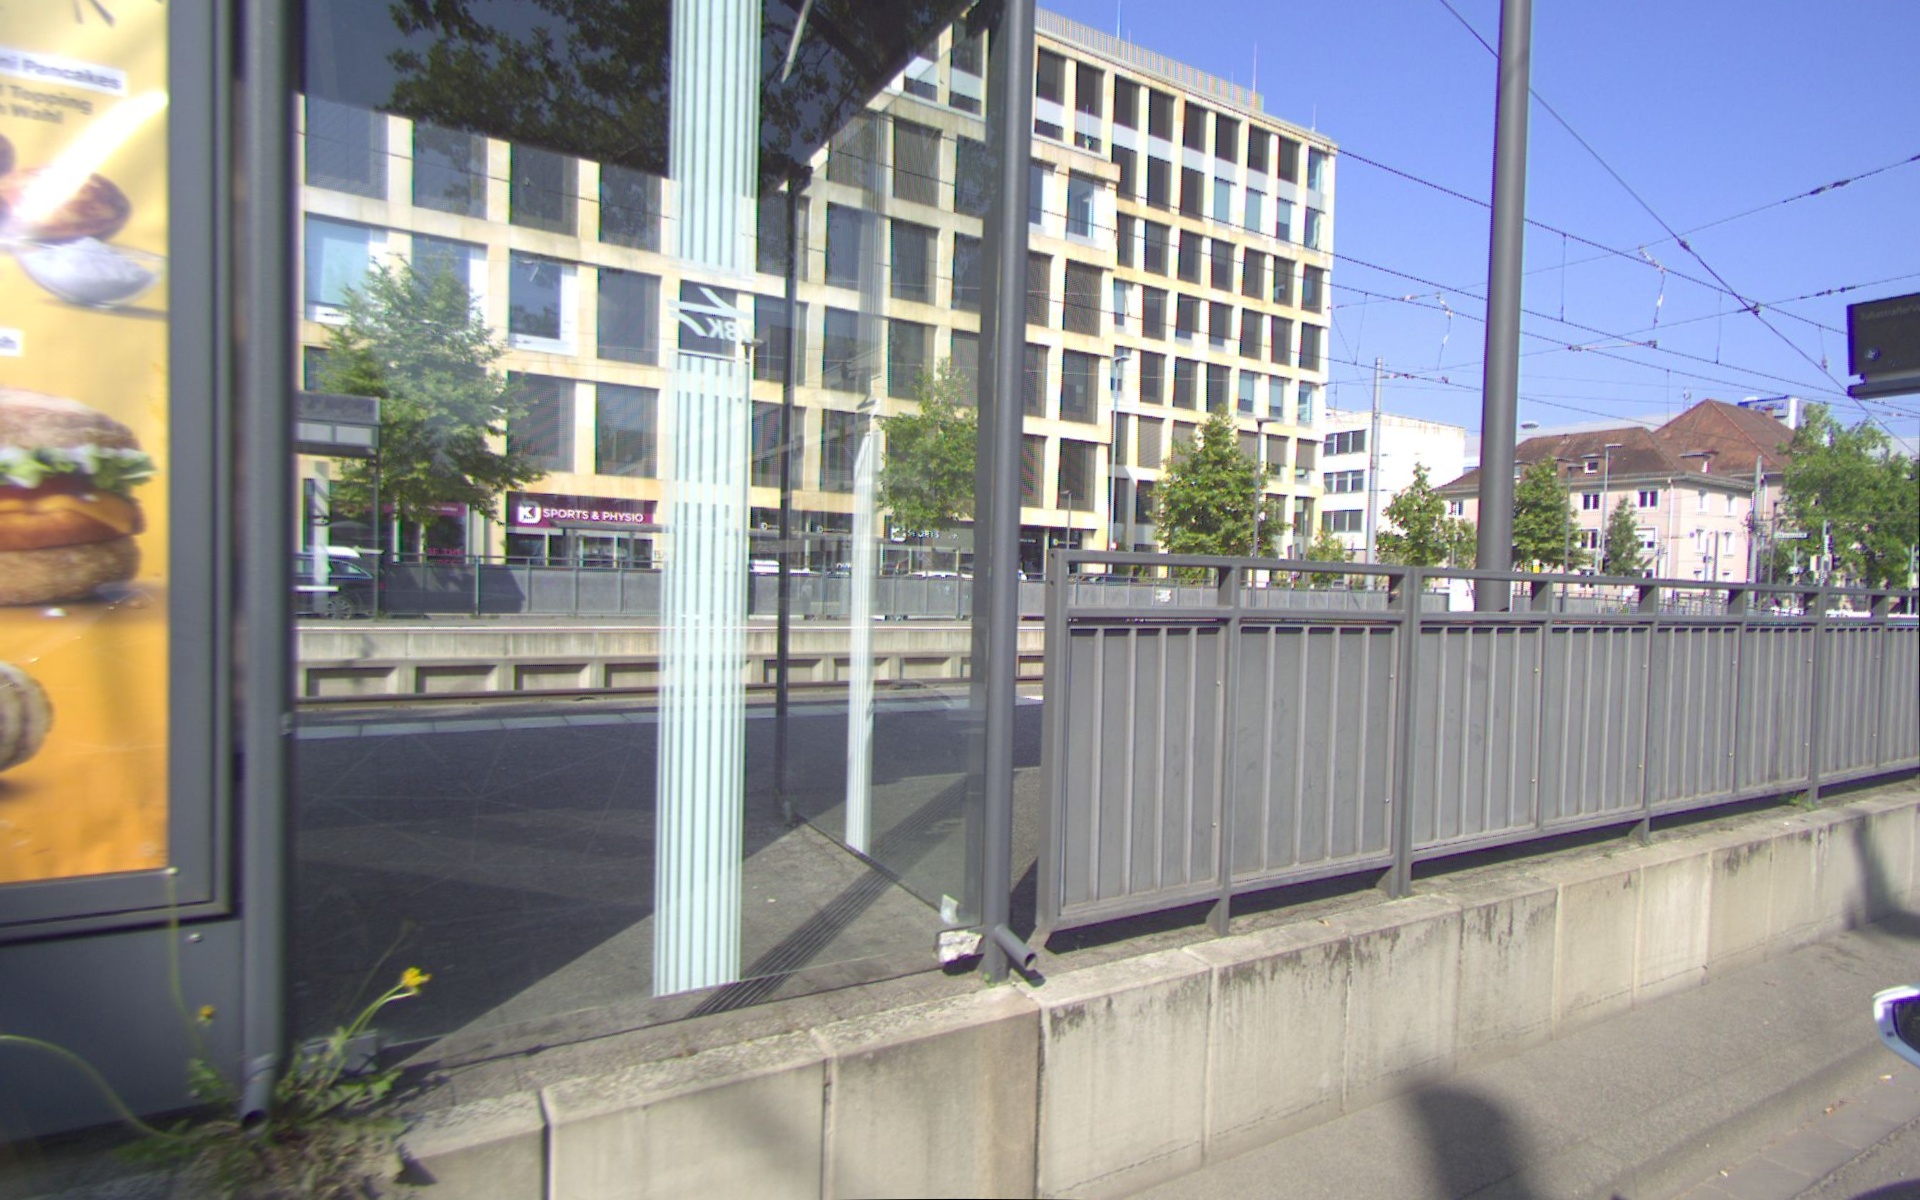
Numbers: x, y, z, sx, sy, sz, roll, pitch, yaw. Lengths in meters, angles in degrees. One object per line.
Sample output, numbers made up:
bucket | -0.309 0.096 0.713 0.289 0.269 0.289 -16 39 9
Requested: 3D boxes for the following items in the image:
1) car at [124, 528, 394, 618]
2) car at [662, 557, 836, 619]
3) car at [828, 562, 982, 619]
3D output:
car | -13.827 -0.490 20.143 4.262 1.624 1.754 1 1 -32
car | -5.312 -0.270 25.384 3.964 1.465 1.701 1 1 -32
car | -1.513 -0.243 28.034 3.964 1.465 1.701 1 1 -32
